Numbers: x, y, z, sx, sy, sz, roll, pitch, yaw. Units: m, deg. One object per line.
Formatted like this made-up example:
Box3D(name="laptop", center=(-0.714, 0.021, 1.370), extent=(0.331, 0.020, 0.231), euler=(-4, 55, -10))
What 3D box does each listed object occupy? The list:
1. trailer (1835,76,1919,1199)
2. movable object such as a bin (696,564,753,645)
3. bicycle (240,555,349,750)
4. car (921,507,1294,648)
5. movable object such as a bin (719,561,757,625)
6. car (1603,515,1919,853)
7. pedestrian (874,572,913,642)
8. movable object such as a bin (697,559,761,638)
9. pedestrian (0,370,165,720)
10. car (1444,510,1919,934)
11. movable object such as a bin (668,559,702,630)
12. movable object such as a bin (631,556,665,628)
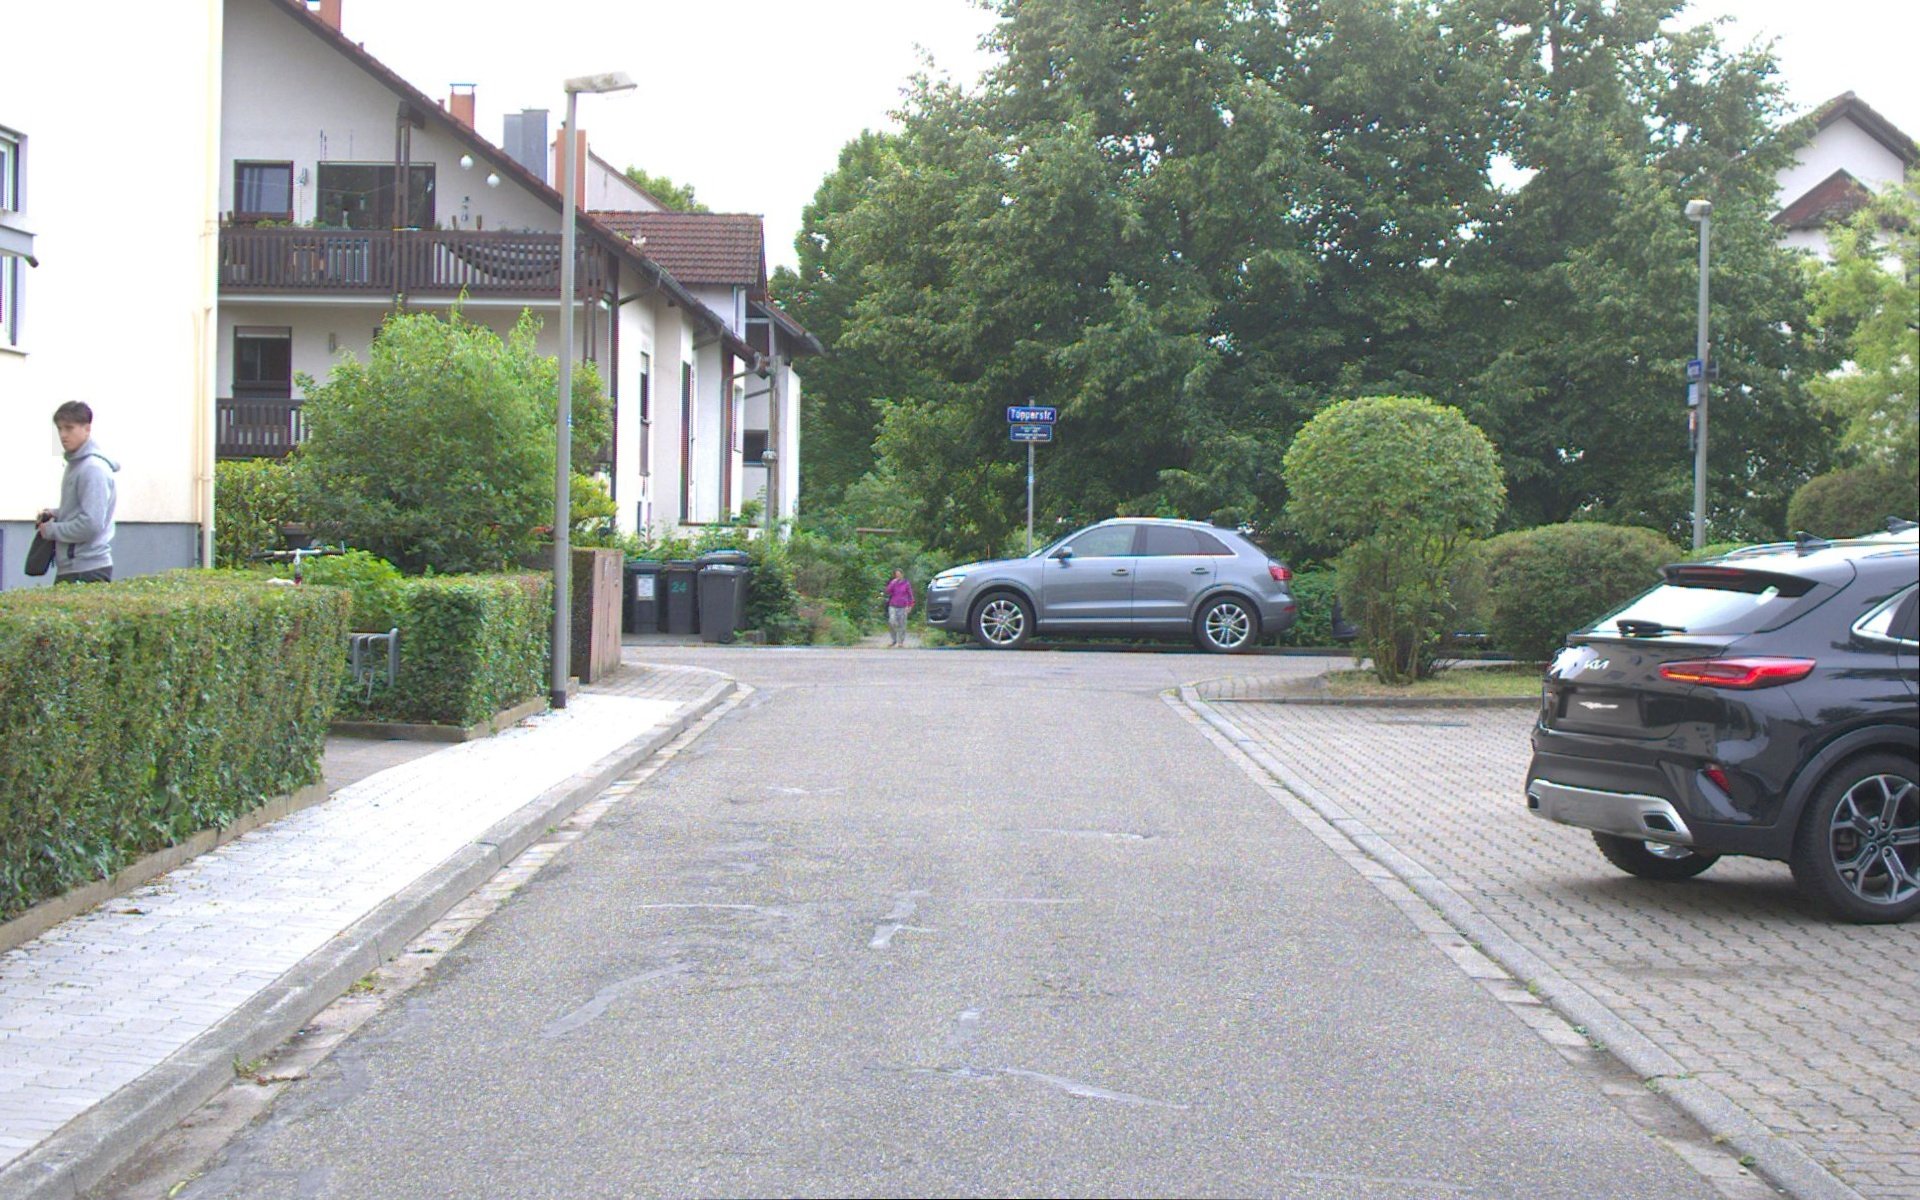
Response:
Box3D(name="trailer", center=(4.338, 0.197, 6.883), extent=(4.609, 2.516, 1.943), euler=(1, 1, 1))
Box3D(name="movable object such as a bin", center=(-2.892, 0.049, 42.223), extent=(0.638, 0.950, 0.723), euler=(2, 1, -1))
Box3D(name="bicycle", center=(-3.848, 0.285, 19.932), extent=(0.318, 1.072, 1.418), euler=(2, 1, 0))
Box3D(name="car", center=(1.682, -0.247, 40.185), extent=(4.237, 1.526, 1.747), euler=(1, -1, 0))
Box3D(name="movable object such as a bin", center=(-2.856, -0.091, 44.265), extent=(0.459, 0.795, 0.379), euler=(2, 1, -2))
Box3D(name="car", center=(5.687, 0.402, 17.317), extent=(4.537, 1.583, 1.988), euler=(1, 2, 2))
Box3D(name="pedestrian", center=(-1.454, 0.146, 74.705), extent=(0.815, 1.512, 0.438), euler=(1, 0, -2))
Box3D(name="movable object such as a bin", center=(-2.886, -0.020, 43.059), extent=(0.733, 0.950, 0.584), euler=(2, 1, 0))
Box3D(name="pedestrian", center=(-4.540, -0.285, 17.710), extent=(0.679, 1.743, 0.756), euler=(2, 1, -2))
Box3D(name="car", center=(4.283, 0.404, 14.361), extent=(3.986, 1.546, 2.001), euler=(-1, 2, -15))
Box3D(name="movable object such as a bin", center=(-3.507, -0.069, 43.893), extent=(0.386, 0.886, 0.379), euler=(2, 1, -2))
Box3D(name="movable object such as a bin", center=(-3.974, -0.098, 43.854), extent=(0.386, 0.898, 0.379), euler=(2, 1, -2))
